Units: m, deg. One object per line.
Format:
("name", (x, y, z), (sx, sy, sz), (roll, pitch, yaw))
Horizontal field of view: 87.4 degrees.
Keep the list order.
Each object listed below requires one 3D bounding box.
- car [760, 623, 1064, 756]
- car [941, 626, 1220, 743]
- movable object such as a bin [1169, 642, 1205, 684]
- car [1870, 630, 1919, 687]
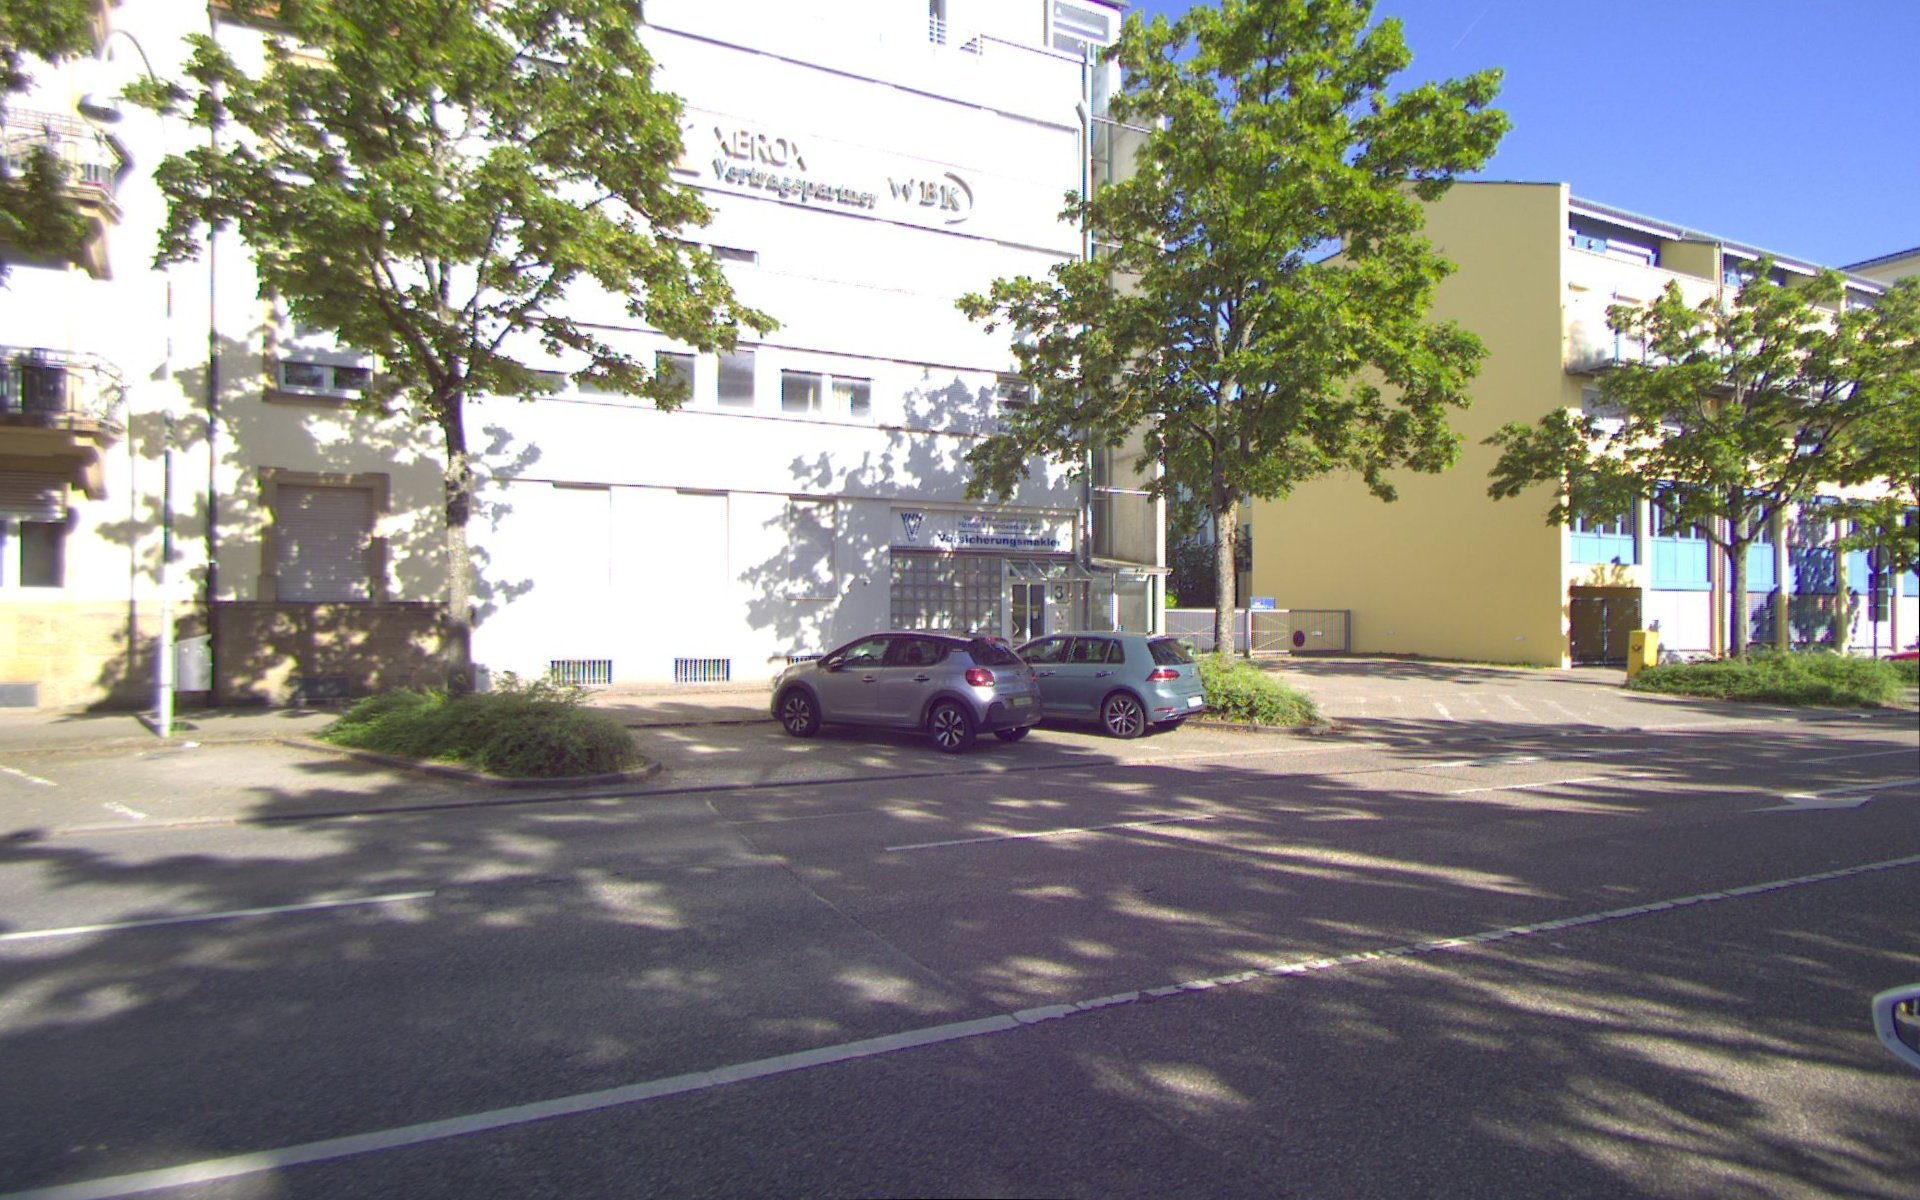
("car", (-0.699, 1.113, 13.772), (3.819, 1.530, 1.824), (0, -1, 33))
("car", (1.805, 1.186, 15.319), (3.820, 1.530, 1.823), (0, -1, 33))
("movable object such as a bin", (5.406, 1.501, 23.910), (0.706, 0.962, 0.463), (1, 0, -34))
("car", (28.159, 1.620, 27.752), (4.356, 1.573, 1.912), (-2, -2, 40))
